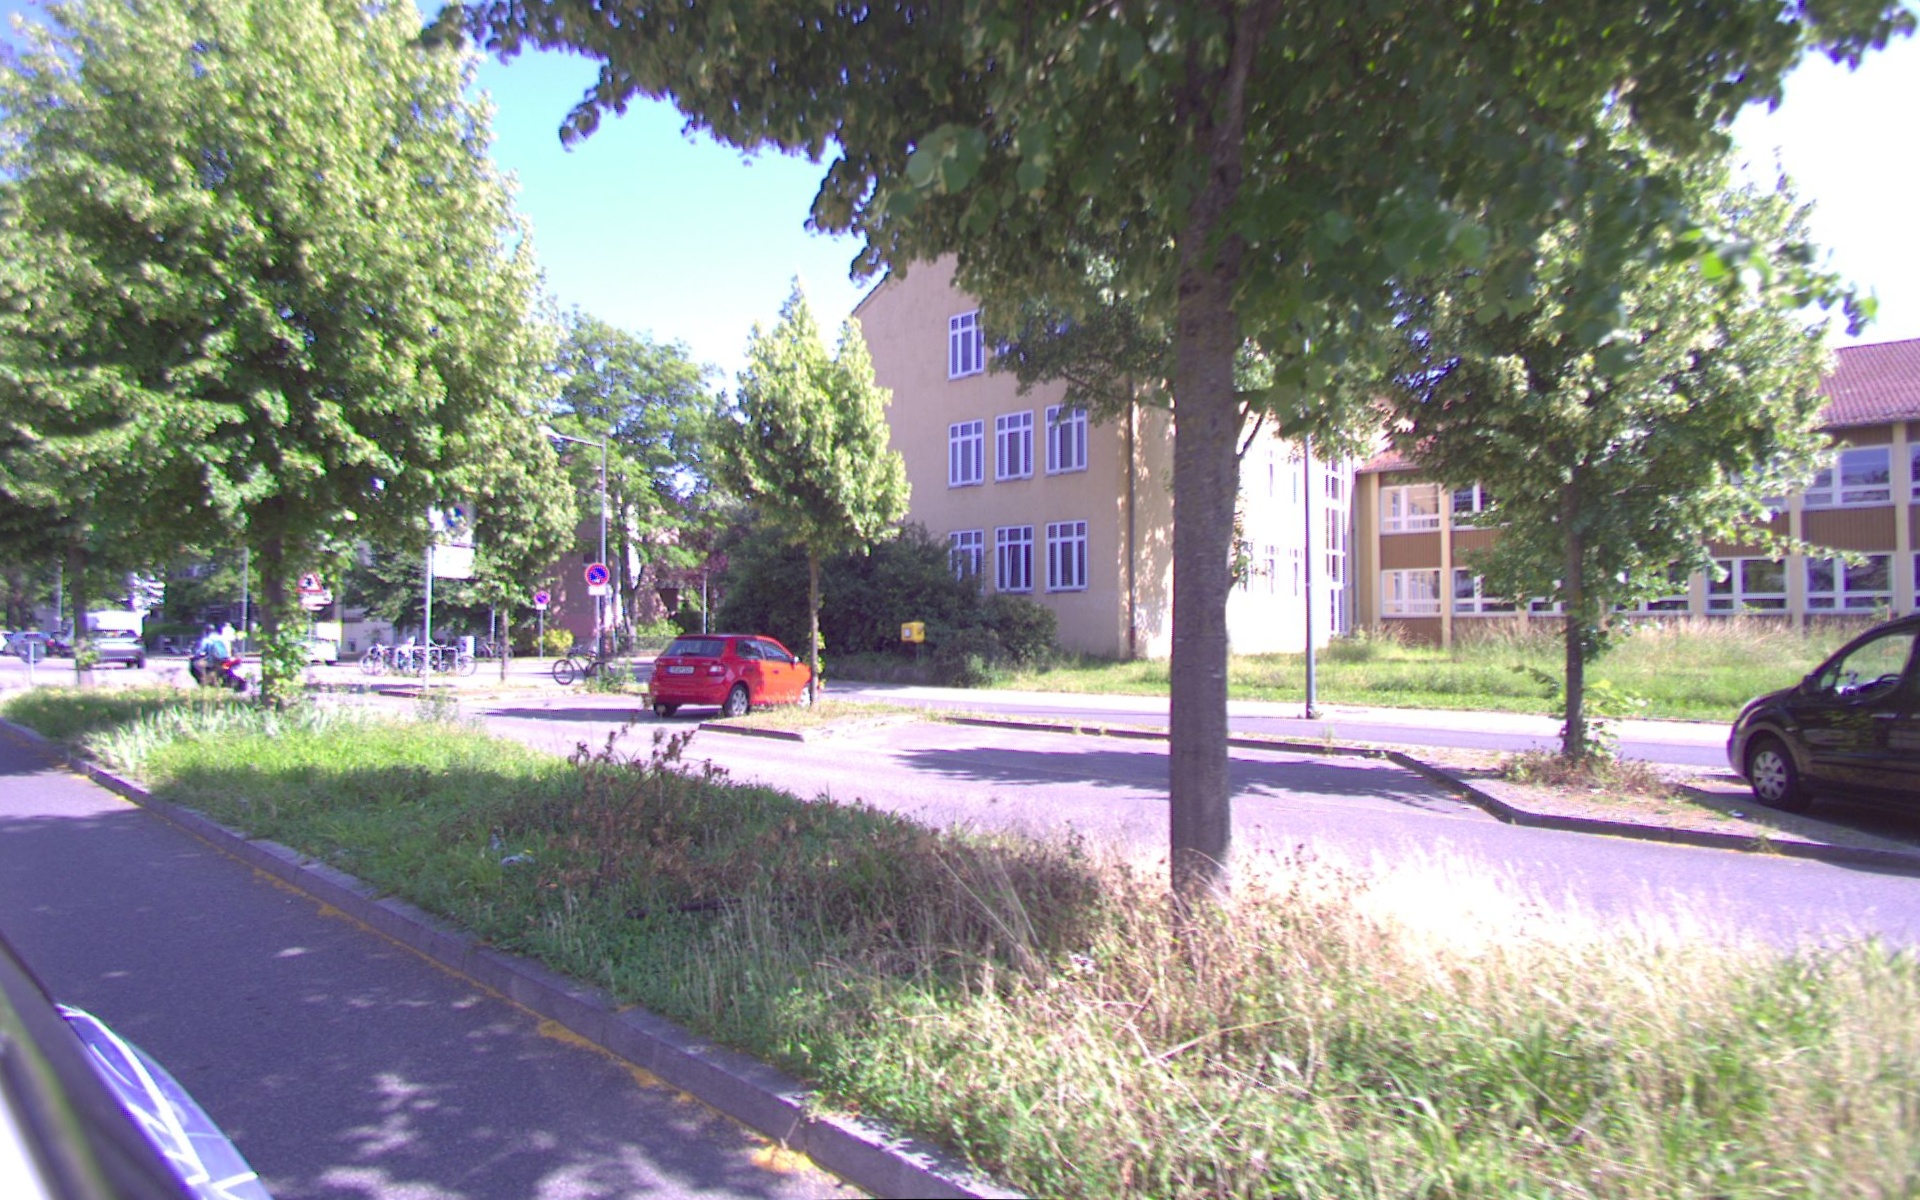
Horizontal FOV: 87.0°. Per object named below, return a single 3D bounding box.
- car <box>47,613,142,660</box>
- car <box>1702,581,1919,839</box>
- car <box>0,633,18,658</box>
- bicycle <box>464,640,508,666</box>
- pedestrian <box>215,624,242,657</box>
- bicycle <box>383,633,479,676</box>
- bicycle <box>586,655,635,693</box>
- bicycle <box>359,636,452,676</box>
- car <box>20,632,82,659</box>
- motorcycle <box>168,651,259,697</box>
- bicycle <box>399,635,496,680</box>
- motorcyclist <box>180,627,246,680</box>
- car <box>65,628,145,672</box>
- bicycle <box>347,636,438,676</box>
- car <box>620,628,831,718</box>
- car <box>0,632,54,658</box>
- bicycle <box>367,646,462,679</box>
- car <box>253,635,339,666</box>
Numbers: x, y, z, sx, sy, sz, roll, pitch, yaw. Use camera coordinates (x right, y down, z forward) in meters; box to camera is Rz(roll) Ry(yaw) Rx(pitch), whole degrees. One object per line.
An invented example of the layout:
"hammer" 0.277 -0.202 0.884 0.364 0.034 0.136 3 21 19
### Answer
"car" -47.772 2.051 55.849 5.929 2.516 2.074 -2 -4 30
"car" 7.811 0.779 7.250 1.978 1.830 4.184 -1 -3 3
"car" -62.112 2.937 64.767 3.989 1.571 1.706 -2 -4 34
"bicycle" -20.462 2.270 43.723 1.689 1.089 0.378 0 -3 -8
"pedestrian" -39.303 2.166 54.371 0.724 1.793 0.964 -2 -3 37
"bicycle" -16.181 1.666 31.017 0.738 1.266 2.490 -3 -4 38
"bicycle" -8.805 1.853 25.510 1.268 0.910 0.516 -1 -3 37
"bicycle" -17.890 1.806 32.710 0.738 1.249 2.520 -3 -4 38
"car" -52.840 2.661 58.802 3.989 1.571 1.706 -2 -4 34
"motorcycle" -17.689 1.727 23.975 2.225 1.000 0.917 -1 -2 30
"bicycle" -15.282 1.685 30.246 0.738 1.266 2.520 -2 -3 38
"motorcyclist" -17.721 1.256 24.018 1.057 1.230 0.895 -1 -2 29
"car" -32.022 1.836 37.875 4.072 1.559 1.723 -2 -4 42
"bicycle" -18.670 1.855 33.354 0.738 1.266 2.520 -3 -4 38
"car" -4.183 1.311 18.745 1.985 1.478 3.973 -1 -3 20
"car" -56.945 2.751 61.436 4.659 1.571 1.706 -2 -4 34
"bicycle" -17.062 1.941 31.715 0.738 0.995 2.520 -3 -4 38
"car" -29.176 2.227 44.430 3.989 1.276 1.706 -2 -4 34
